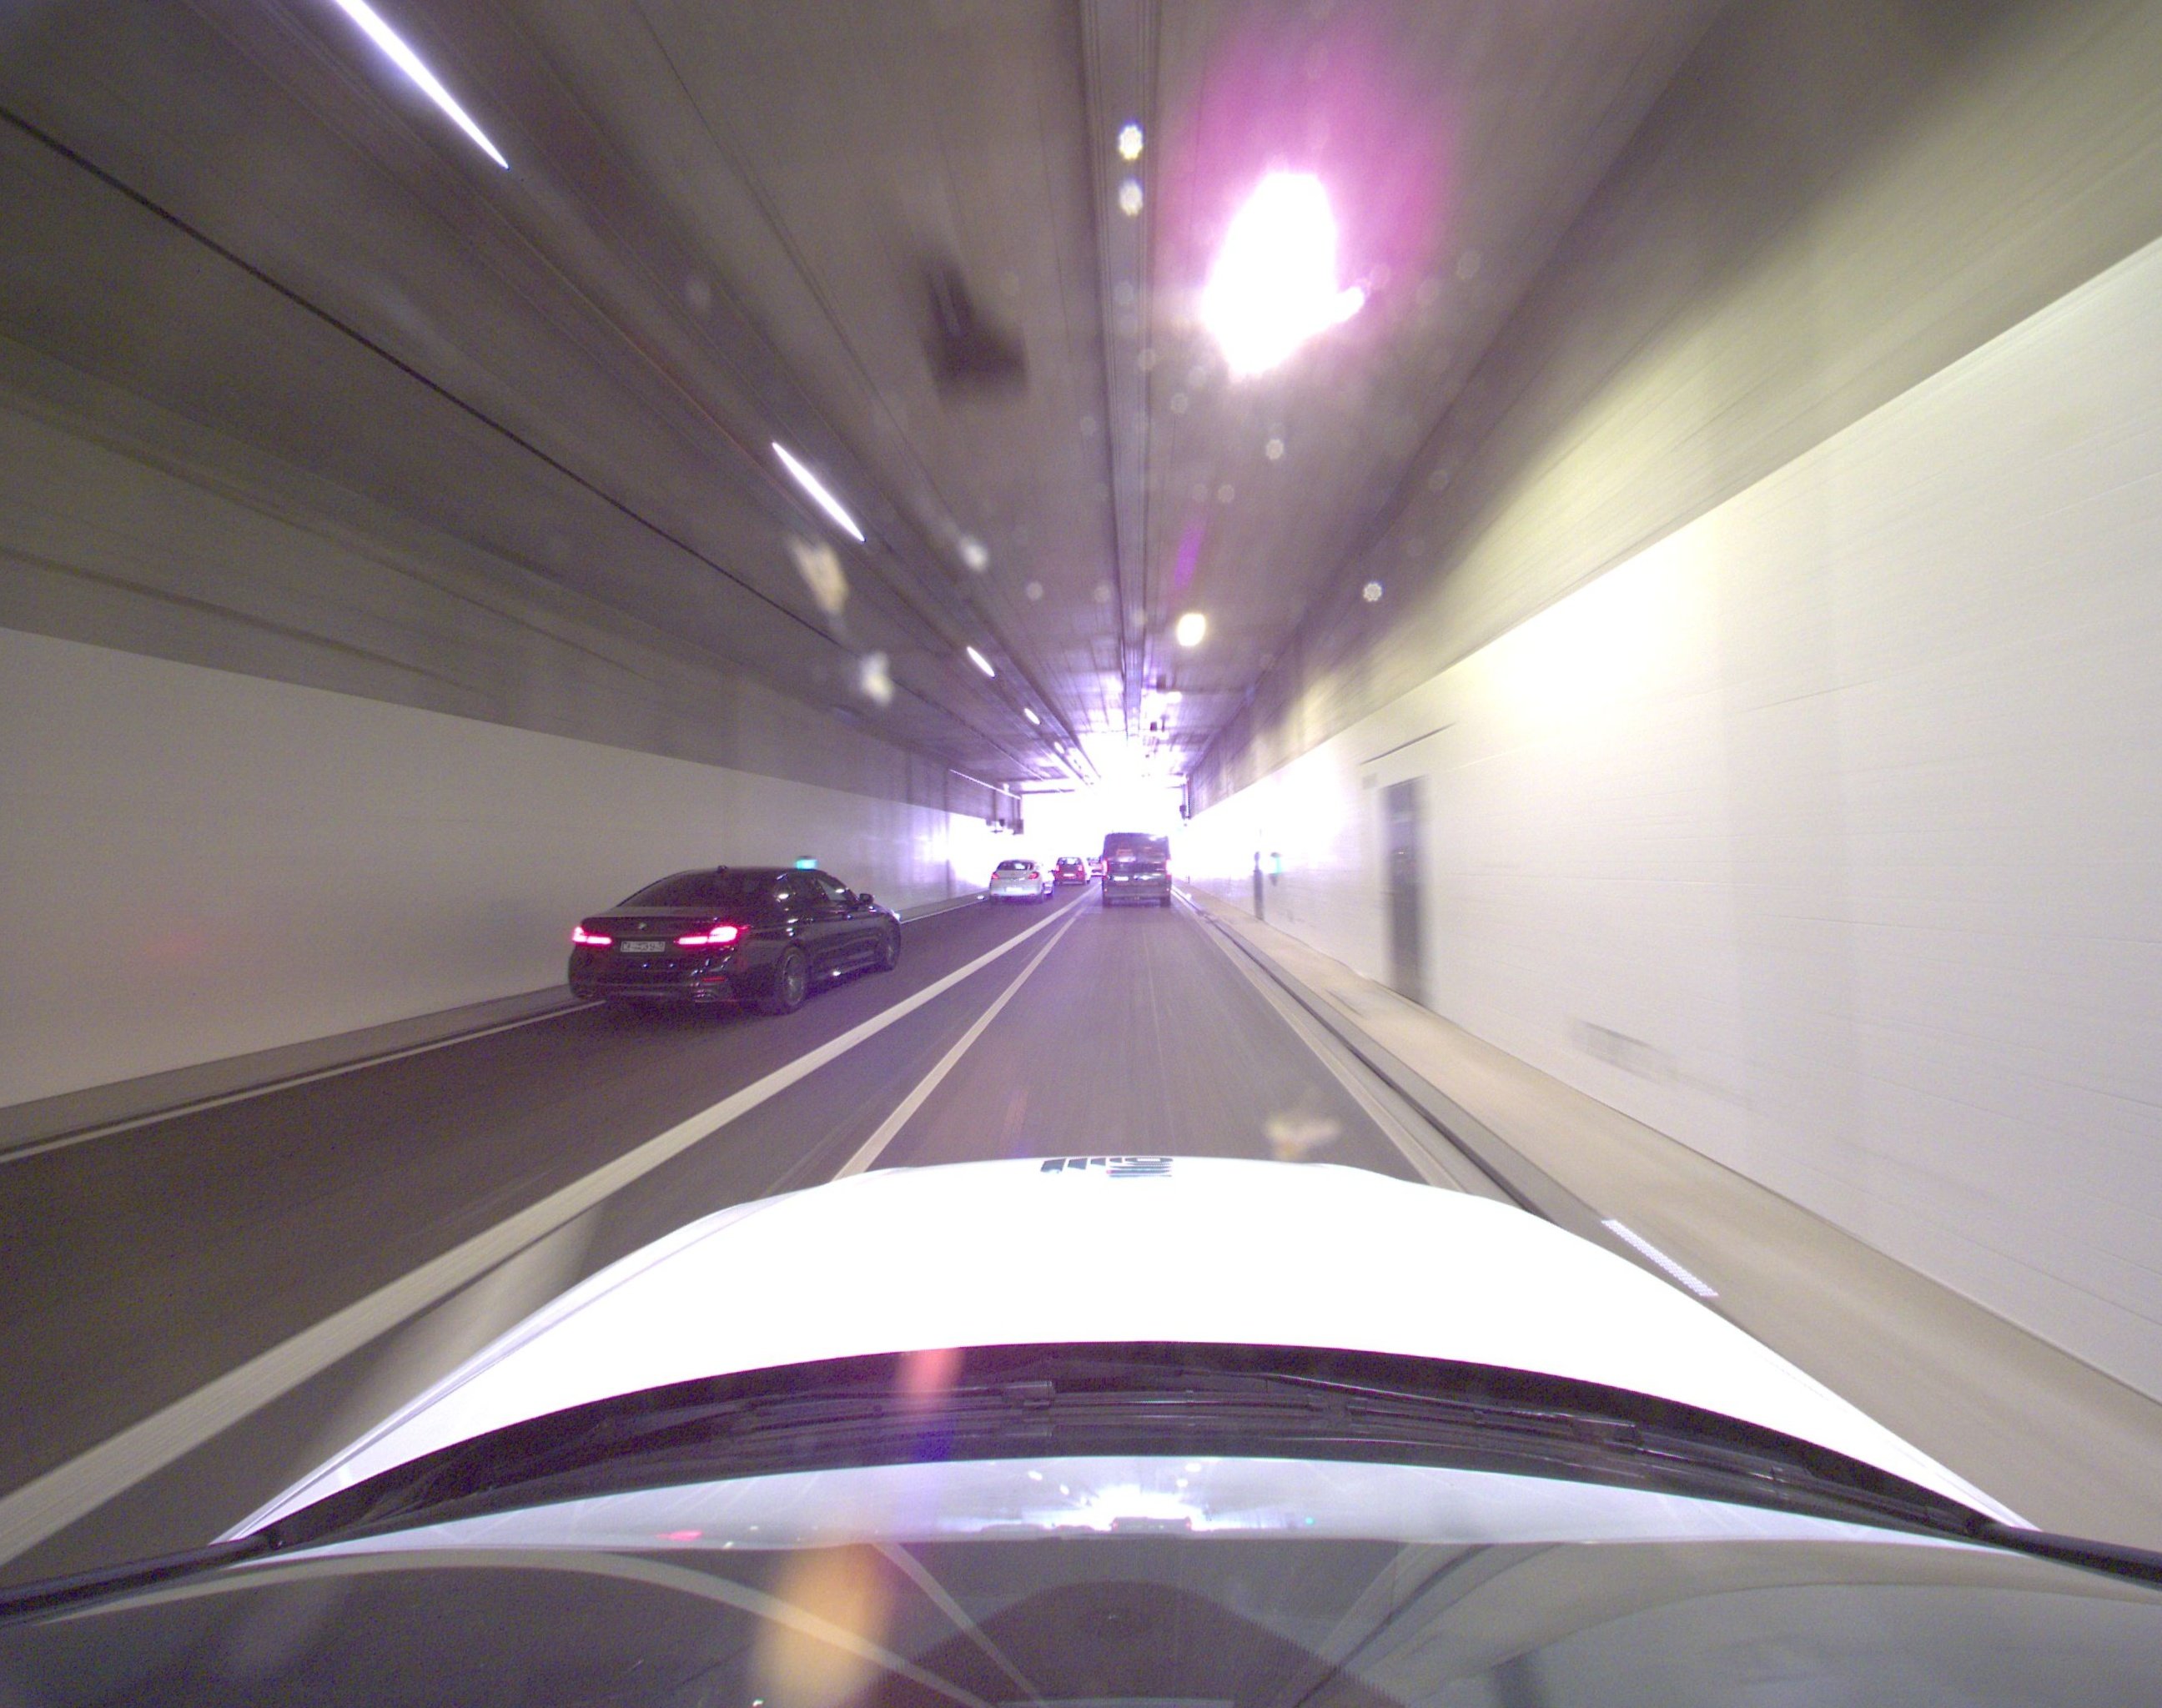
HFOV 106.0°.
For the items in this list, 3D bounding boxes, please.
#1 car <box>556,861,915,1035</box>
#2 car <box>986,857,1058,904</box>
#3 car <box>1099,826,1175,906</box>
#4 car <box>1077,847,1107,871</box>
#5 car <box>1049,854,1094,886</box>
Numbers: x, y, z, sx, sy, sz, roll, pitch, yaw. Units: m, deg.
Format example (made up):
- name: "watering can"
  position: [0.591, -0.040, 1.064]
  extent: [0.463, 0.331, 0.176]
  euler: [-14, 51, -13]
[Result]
- name: "car"
  position: [-3.496, 0.830, 9.469]
  extent: [1.687, 1.422, 4.859]
  euler: [1, 0, 6]
- name: "car"
  position: [-1.869, 0.815, 26.868]
  extent: [1.700, 1.413, 3.980]
  euler: [-1, 0, 5]
- name: "car"
  position: [1.766, 0.314, 25.550]
  extent: [2.149, 2.266, 4.642]
  euler: [-1, 1, 4]
- name: "car"
  position: [0.811, 0.388, 56.823]
  extent: [1.868, 1.581, 4.224]
  euler: [0, -1, 4]
- name: "car"
  position: [-0.430, 0.781, 41.574]
  extent: [1.805, 1.512, 4.228]
  euler: [0, 0, 6]
